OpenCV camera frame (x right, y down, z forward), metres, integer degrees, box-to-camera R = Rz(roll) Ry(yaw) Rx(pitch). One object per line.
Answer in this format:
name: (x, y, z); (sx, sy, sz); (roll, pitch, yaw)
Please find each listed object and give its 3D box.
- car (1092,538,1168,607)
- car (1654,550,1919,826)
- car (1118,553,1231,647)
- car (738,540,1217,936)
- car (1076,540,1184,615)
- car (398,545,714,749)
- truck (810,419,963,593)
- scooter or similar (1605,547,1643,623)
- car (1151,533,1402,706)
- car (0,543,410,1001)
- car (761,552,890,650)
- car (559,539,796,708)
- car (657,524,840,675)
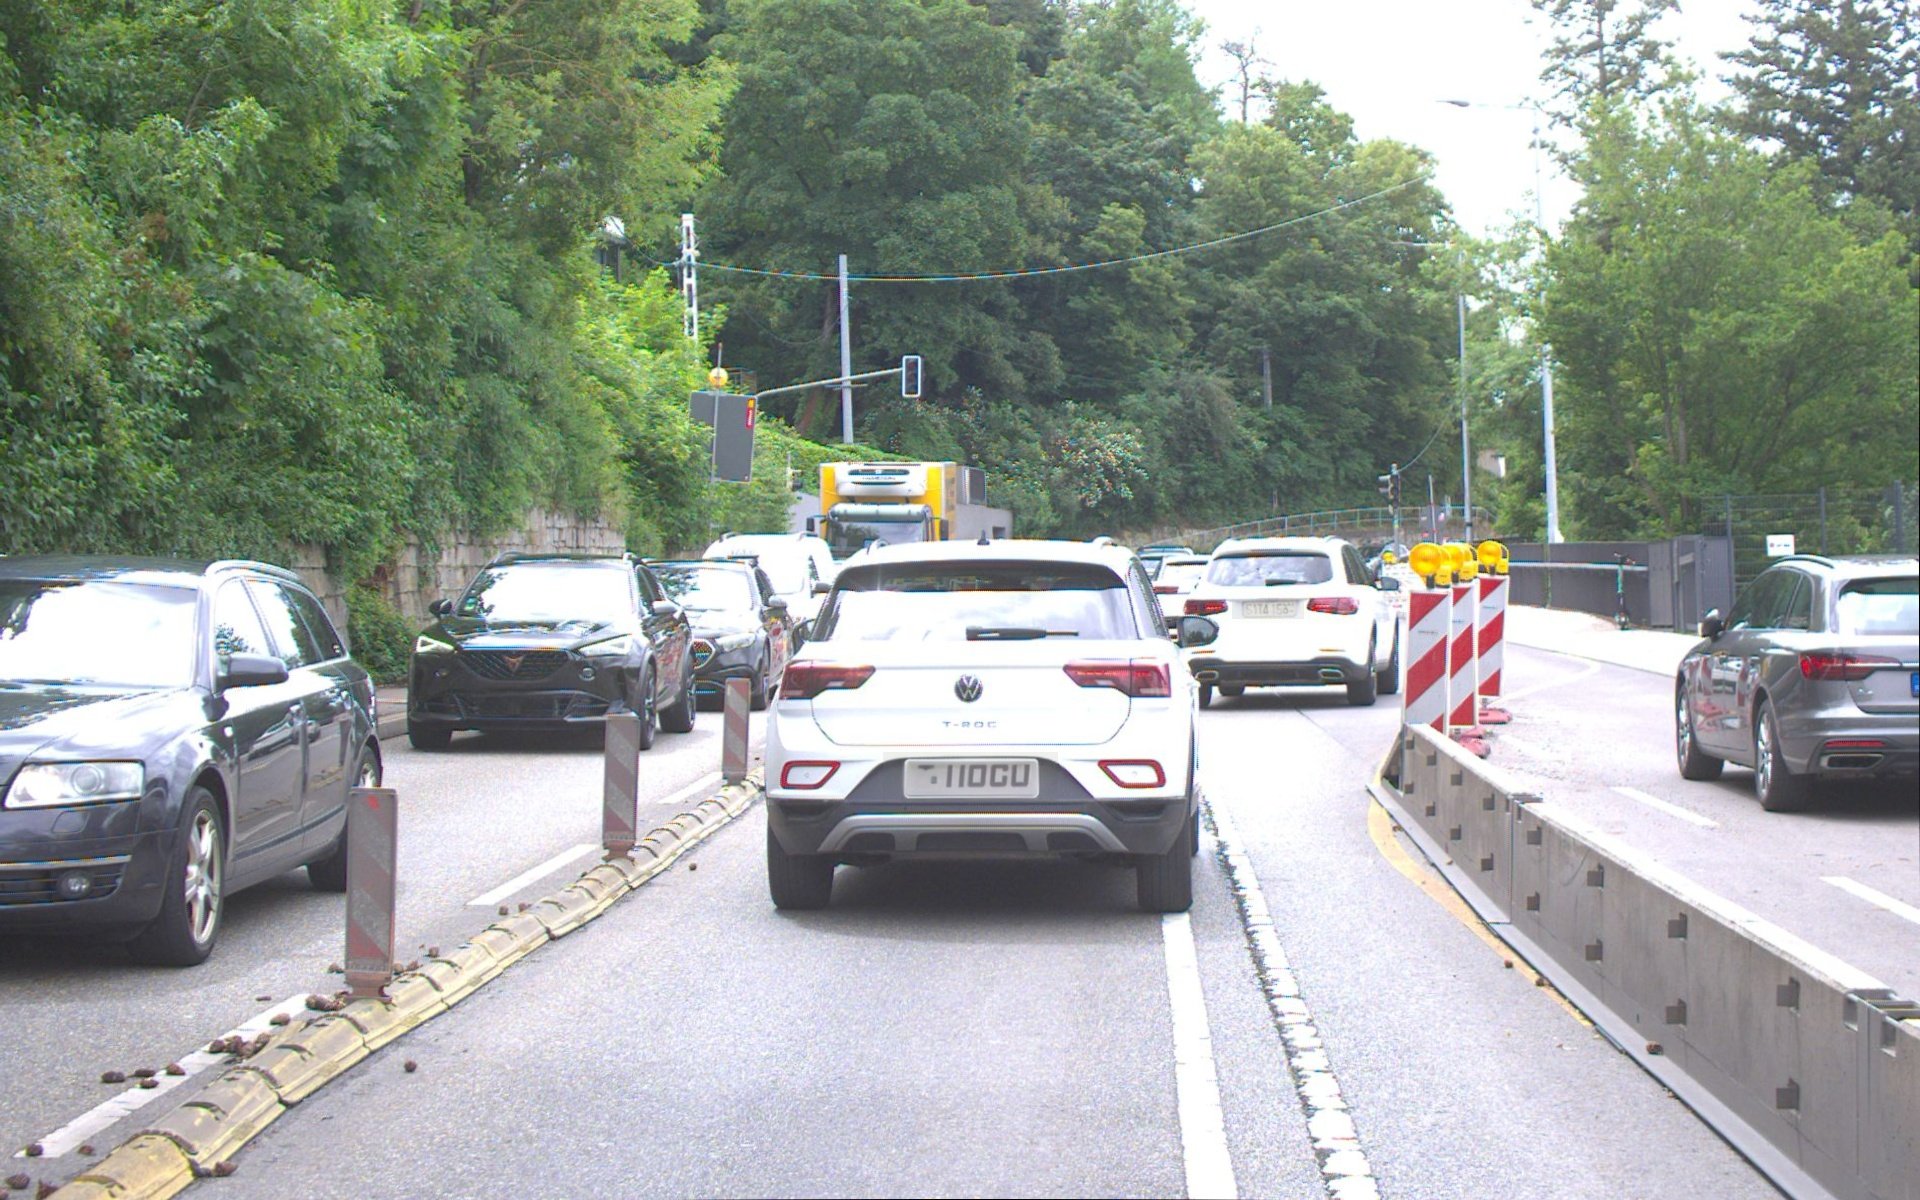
car: (4.289, -0.694, 86.476); (1.816, 1.684, 3.999); (1, 1, 4)
car: (5.428, 0.434, 20.521); (1.840, 1.450, 4.627); (0, 1, 3)
car: (3.778, -0.016, 60.649); (1.907, 1.568, 4.000); (1, 1, 3)
car: (0.138, 0.512, 15.437); (1.867, 1.531, 3.803); (1, 1, 2)
car: (3.645, -0.491, 74.254); (1.993, 1.535, 4.010); (1, 1, -2)
car: (-3.158, 0.329, 27.691); (1.829, 1.480, 4.318); (1, 1, 3)
truck: (-1.486, -1.934, 73.134); (2.731, 3.498, 7.349); (-1, 0, 3)
scooter or similar: (11.126, -0.251, 57.651); (0.534, 1.222, 1.206); (-2, 1, 9)
car: (3.200, 0.165, 34.086); (1.994, 1.581, 3.998); (1, 1, 12)
car: (-3.470, 0.517, 13.368); (1.791, 1.459, 4.509); (1, 1, 2)
car: (-2.124, -0.006, 55.446); (1.791, 1.502, 4.312); (1, 1, 1)
car: (-2.801, 0.202, 35.088); (1.831, 1.587, 4.654); (1, 1, 2)
car: (-2.627, -0.028, 43.612); (1.803, 1.784, 4.341); (1, 1, 3)
